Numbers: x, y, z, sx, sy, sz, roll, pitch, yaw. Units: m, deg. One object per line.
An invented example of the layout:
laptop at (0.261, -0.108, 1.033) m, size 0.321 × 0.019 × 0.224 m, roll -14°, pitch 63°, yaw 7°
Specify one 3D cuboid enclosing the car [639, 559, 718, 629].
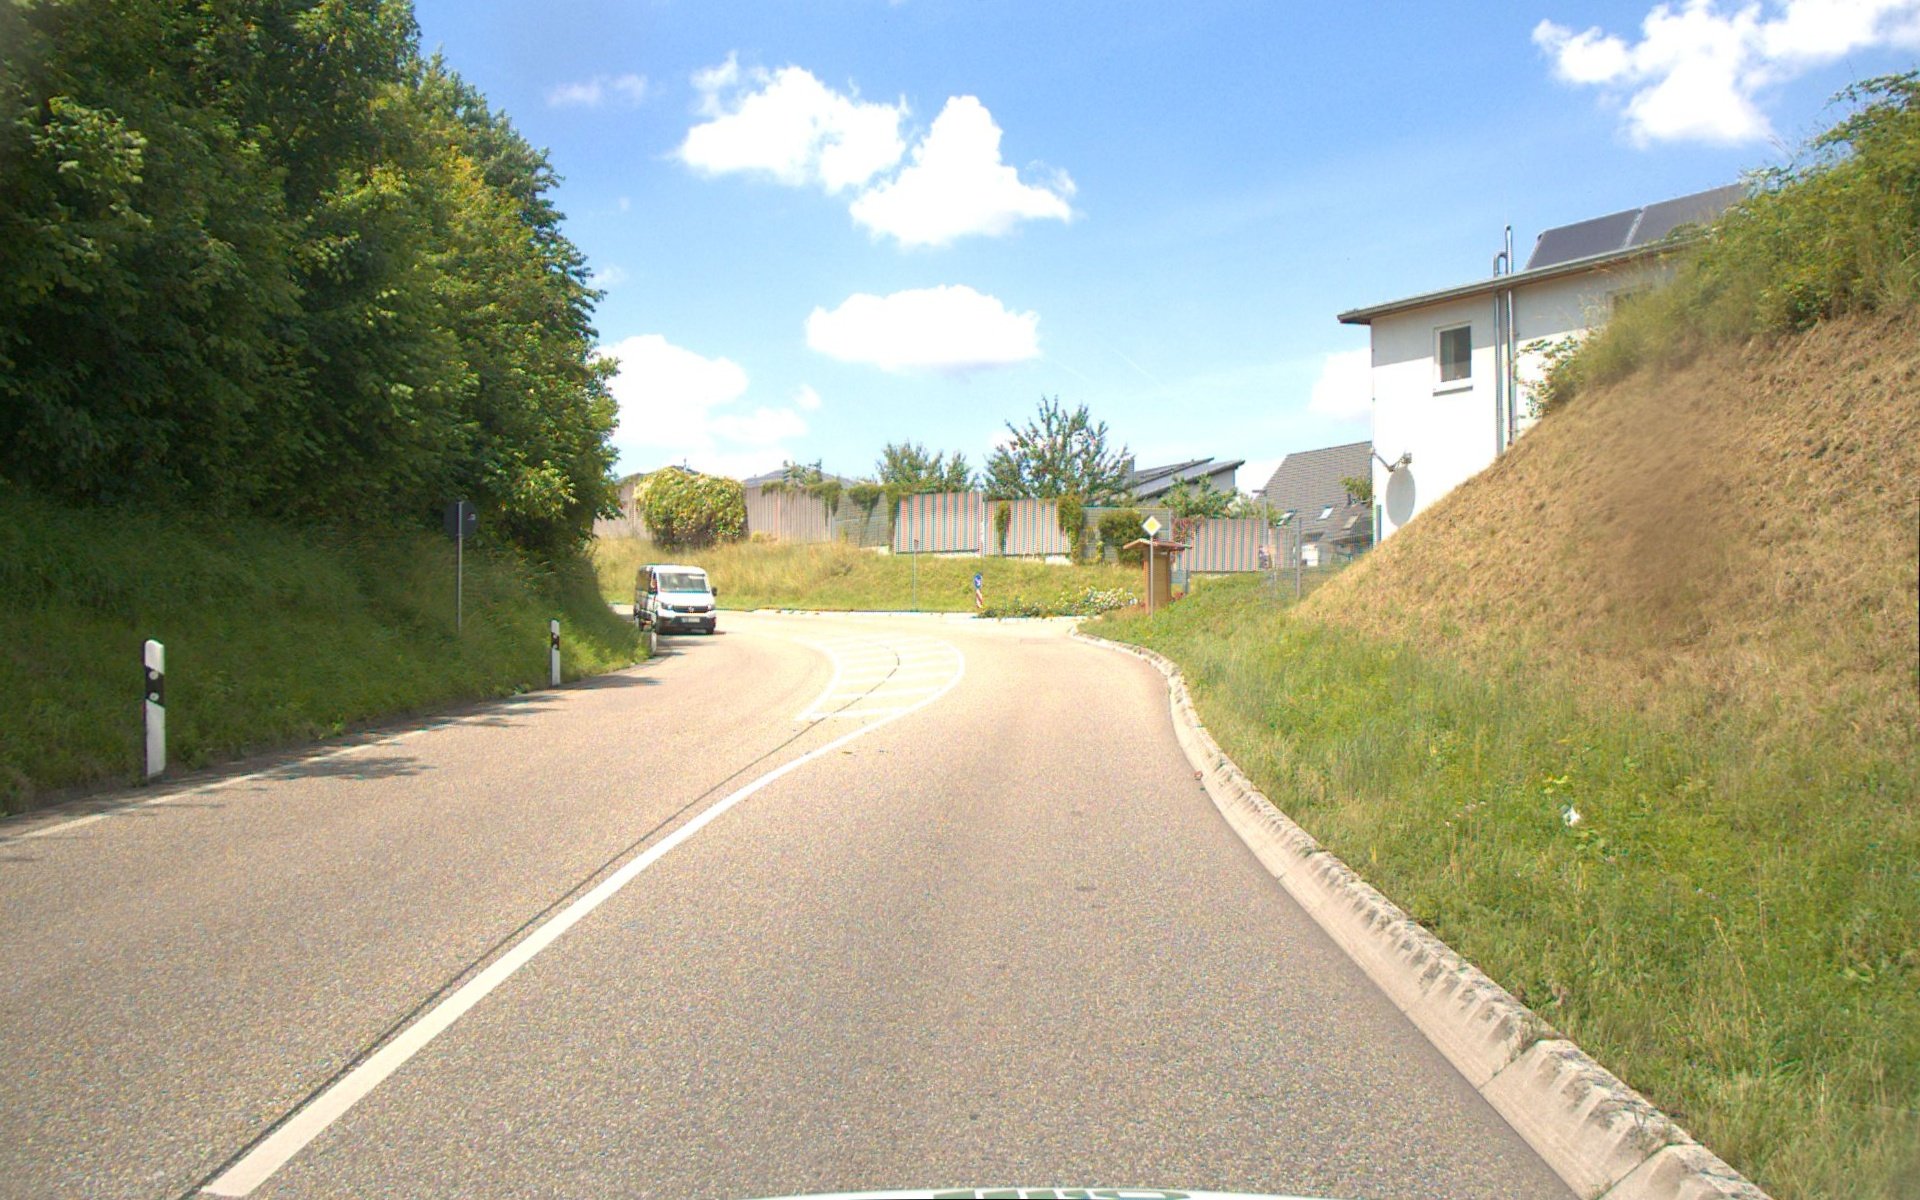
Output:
car at (-10.000, -0.189, 58.454) m, size 2.052 × 2.330 × 5.919 m, roll 0°, pitch 0°, yaw -17°
